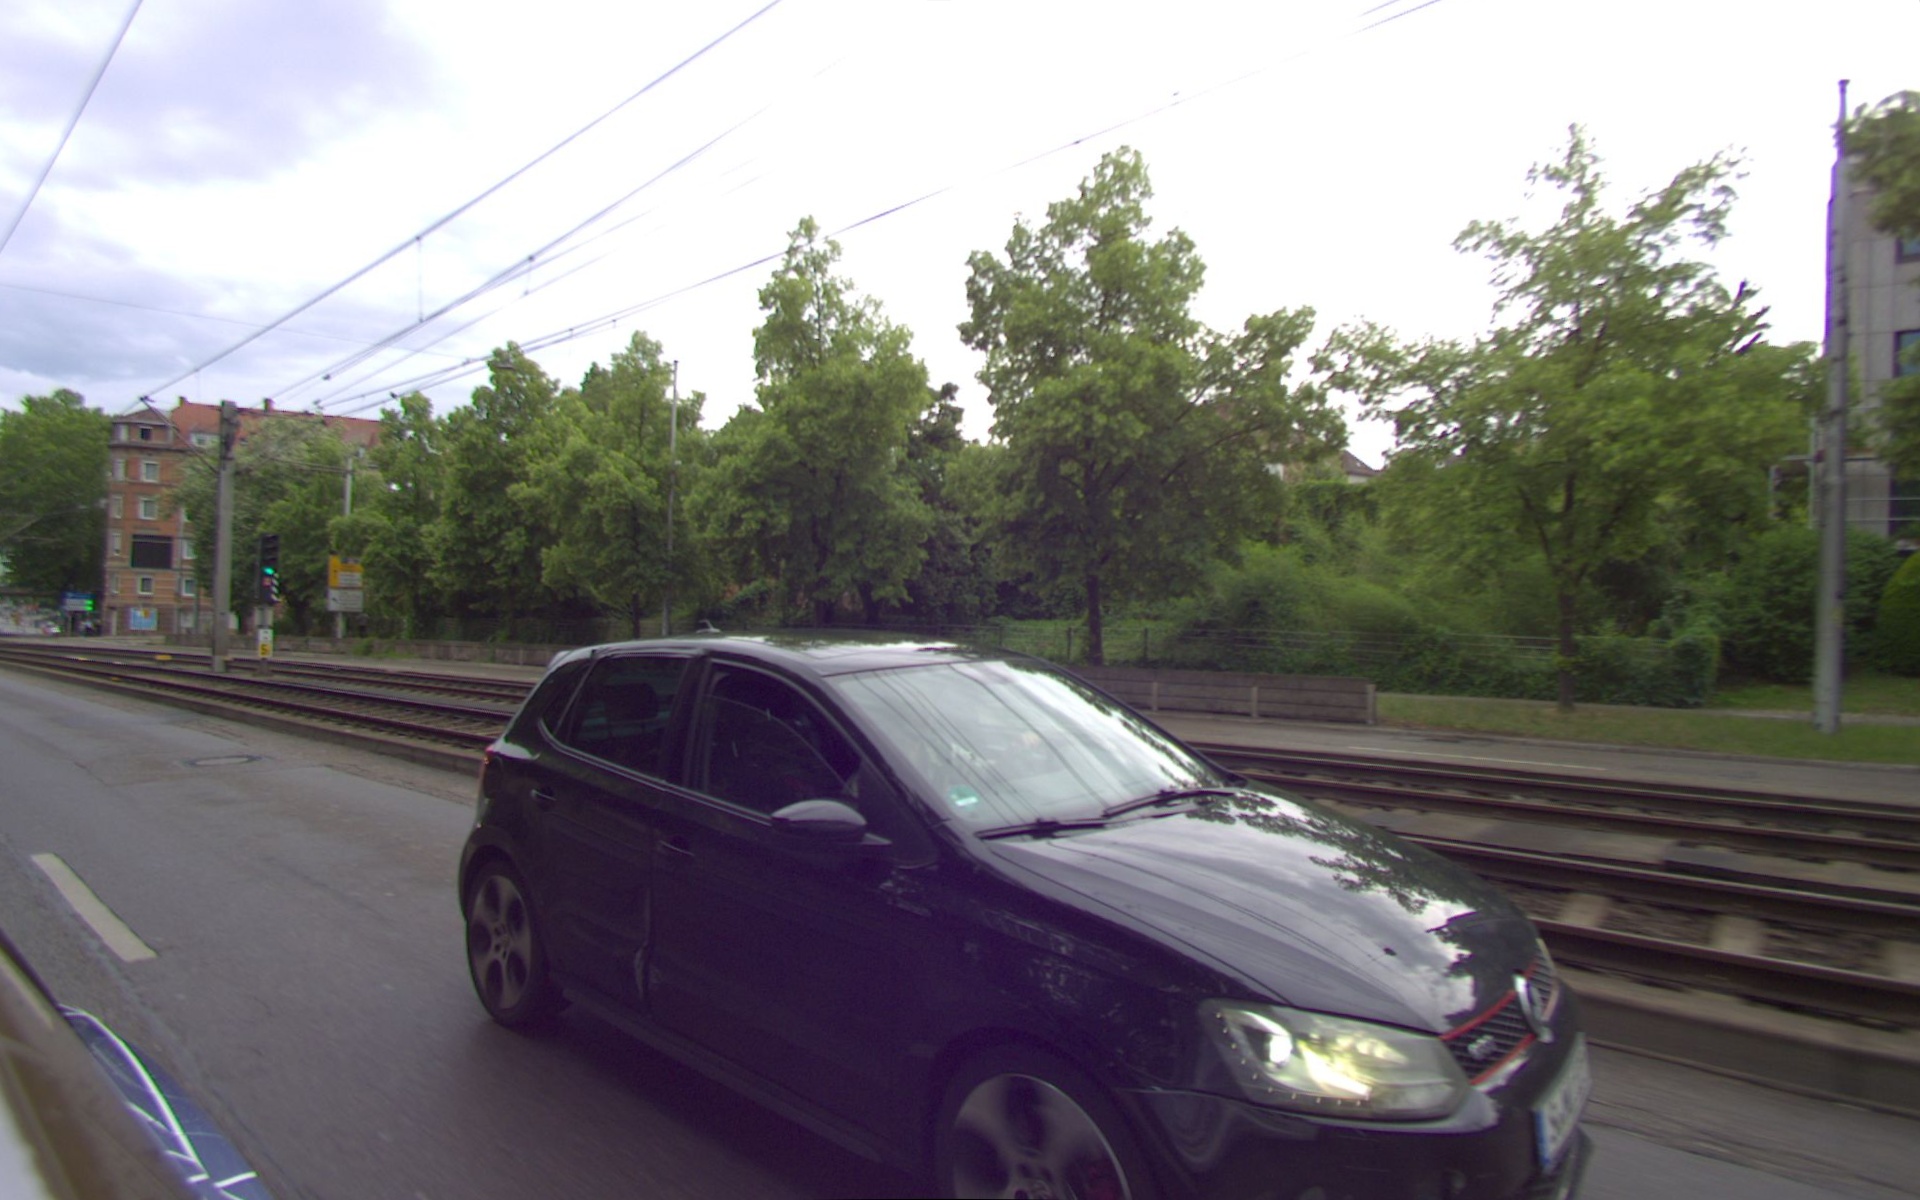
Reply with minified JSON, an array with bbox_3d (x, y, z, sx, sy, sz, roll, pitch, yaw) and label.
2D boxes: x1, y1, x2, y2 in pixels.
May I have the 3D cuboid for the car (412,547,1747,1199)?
[{"bbox_3d":[0.002,0.752,3.286,3.961,1.497,1.776,-2,-3,40],"label":"car"}]

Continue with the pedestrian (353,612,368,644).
[{"bbox_3d":[-36.516,1.684,61.631,0.653,1.917,0.590,-1,-1,37],"label":"pedestrian"}]
